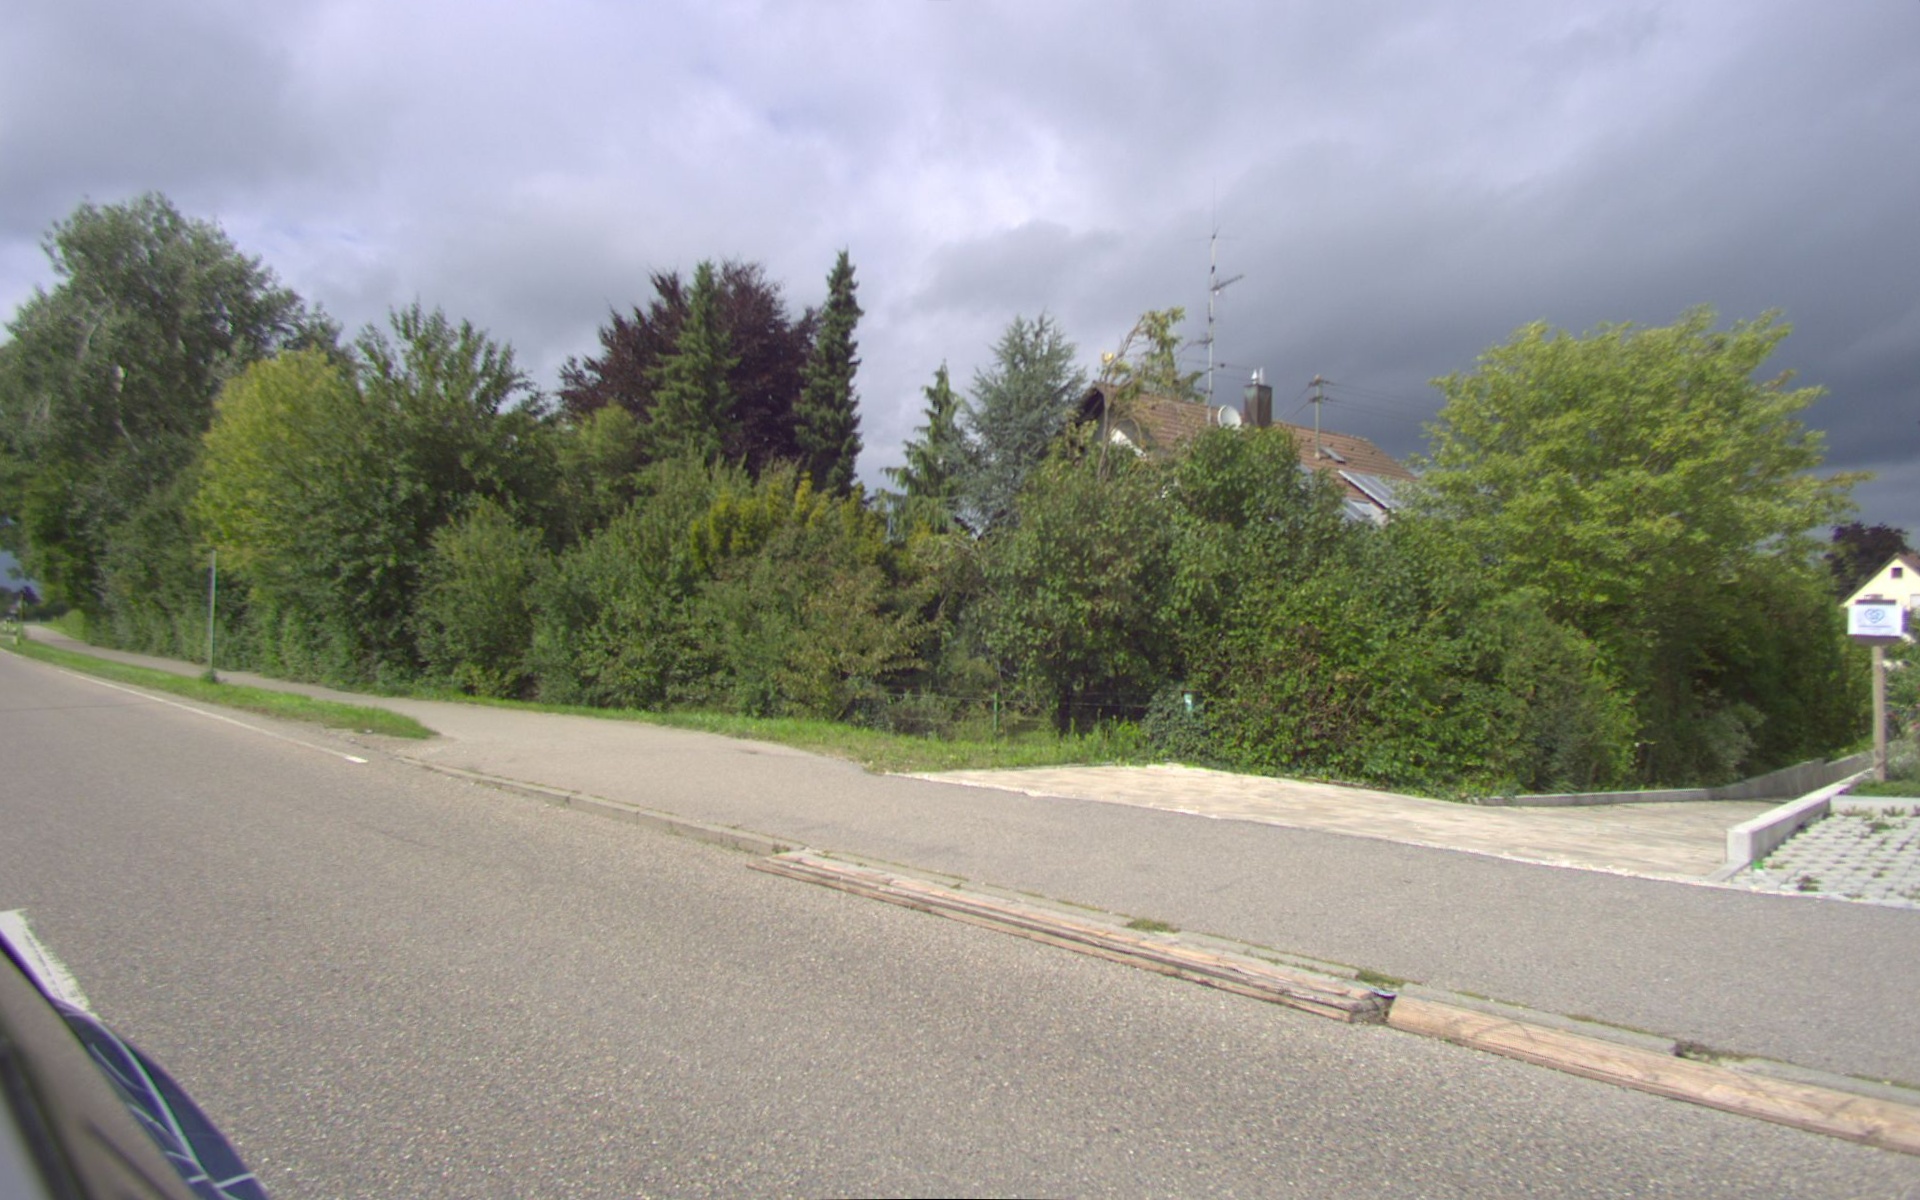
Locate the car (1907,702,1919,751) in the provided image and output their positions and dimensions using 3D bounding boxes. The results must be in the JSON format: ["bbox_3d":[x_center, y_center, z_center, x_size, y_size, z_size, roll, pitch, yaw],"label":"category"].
[{"bbox_3d":[33.933,4.272,33.240,1.862,1.545,4.004,3,-3,-43],"label":"car"}]
